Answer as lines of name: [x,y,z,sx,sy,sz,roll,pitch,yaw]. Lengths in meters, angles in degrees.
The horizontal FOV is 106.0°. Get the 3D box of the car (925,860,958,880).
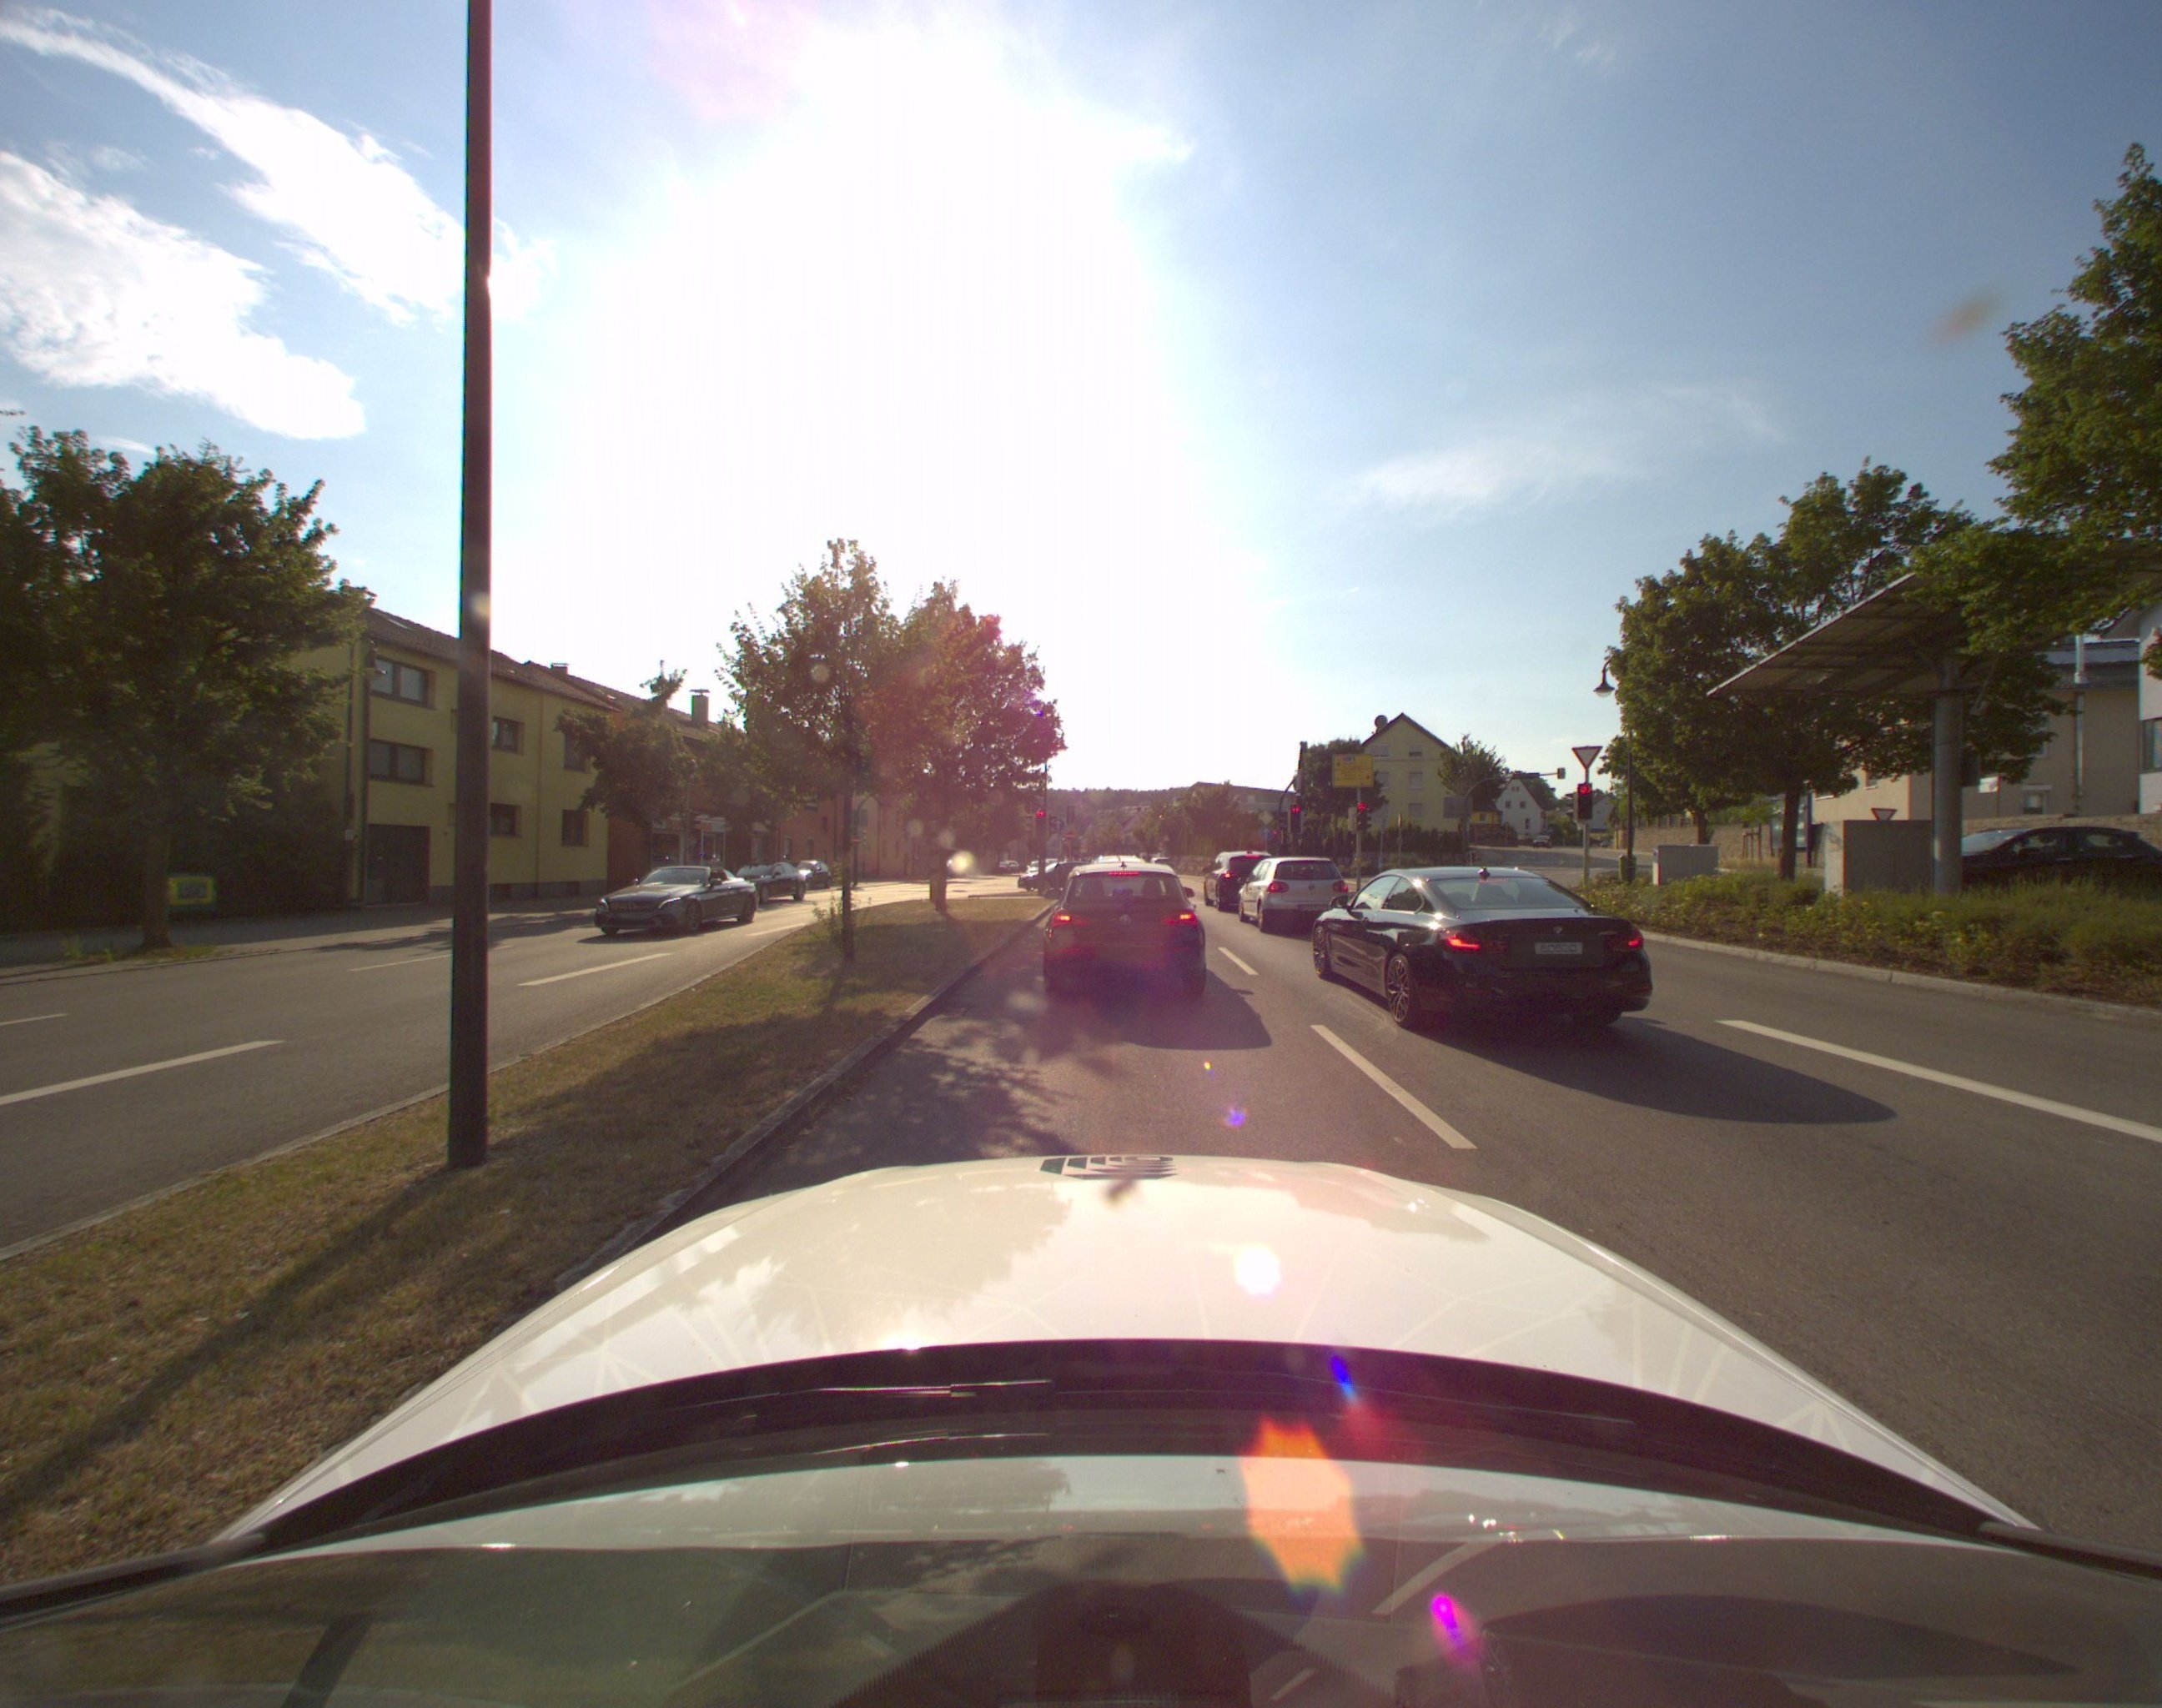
car: [-12.114,1.373,70.930,1.916,1.596,4.004,0,0,3]

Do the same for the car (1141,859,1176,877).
car: [6.605,1.157,69.854,1.861,1.485,4.644,0,0,-10]

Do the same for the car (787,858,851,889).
car: [-14.011,1.020,43.854,1.835,1.552,4.005,2,0,4]

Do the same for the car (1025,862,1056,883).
car: [-2.865,1.326,58.667,1.759,1.458,4.004,0,0,3]

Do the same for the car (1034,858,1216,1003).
car: [0.559,0.777,10.247,1.783,1.414,4.350,0,0,3]

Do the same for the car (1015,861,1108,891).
car: [-0.946,1.026,39.433,4.195,1.386,1.637,0,0,-24]

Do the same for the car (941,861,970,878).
car: [-11.734,1.423,76.321,1.916,1.596,4.004,0,0,3]

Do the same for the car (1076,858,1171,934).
car: [0.938,0.819,17.795,1.808,1.451,4.245,0,0,3]

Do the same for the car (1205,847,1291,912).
car: [4.677,0.674,23.424,1.808,1.666,4.350,0,0,3]

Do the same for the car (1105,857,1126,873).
car: [3.860,1.205,92.582,1.887,1.702,4.517,-2,0,-4]

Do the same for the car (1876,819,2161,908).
car: [18.554,0.188,15.895,3.958,1.608,1.861,0,0,14]

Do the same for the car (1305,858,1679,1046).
car: [3.668,0.752,8.276,1.808,1.388,4.350,0,0,3]

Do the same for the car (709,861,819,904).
car: [-11.462,0.995,29.834,1.834,1.422,4.652,0,0,6]

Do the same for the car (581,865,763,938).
car: [-8.726,0.940,17.894,1.775,1.349,4.477,0,0,-1]

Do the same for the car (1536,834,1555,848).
car: [56.197,-1.559,98.505,1.769,1.506,4.096,0,4,32]

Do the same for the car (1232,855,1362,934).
car: [4.388,0.759,17.175,1.808,1.446,4.350,0,0,3]

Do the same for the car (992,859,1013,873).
car: [-9.751,1.474,101.042,1.916,1.596,4.004,0,0,3]

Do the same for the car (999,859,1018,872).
car: [-9.456,1.489,106.545,1.916,1.596,4.004,0,0,3]

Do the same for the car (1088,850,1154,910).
car: [1.226,0.734,24.732,1.808,1.641,4.245,0,0,3]
